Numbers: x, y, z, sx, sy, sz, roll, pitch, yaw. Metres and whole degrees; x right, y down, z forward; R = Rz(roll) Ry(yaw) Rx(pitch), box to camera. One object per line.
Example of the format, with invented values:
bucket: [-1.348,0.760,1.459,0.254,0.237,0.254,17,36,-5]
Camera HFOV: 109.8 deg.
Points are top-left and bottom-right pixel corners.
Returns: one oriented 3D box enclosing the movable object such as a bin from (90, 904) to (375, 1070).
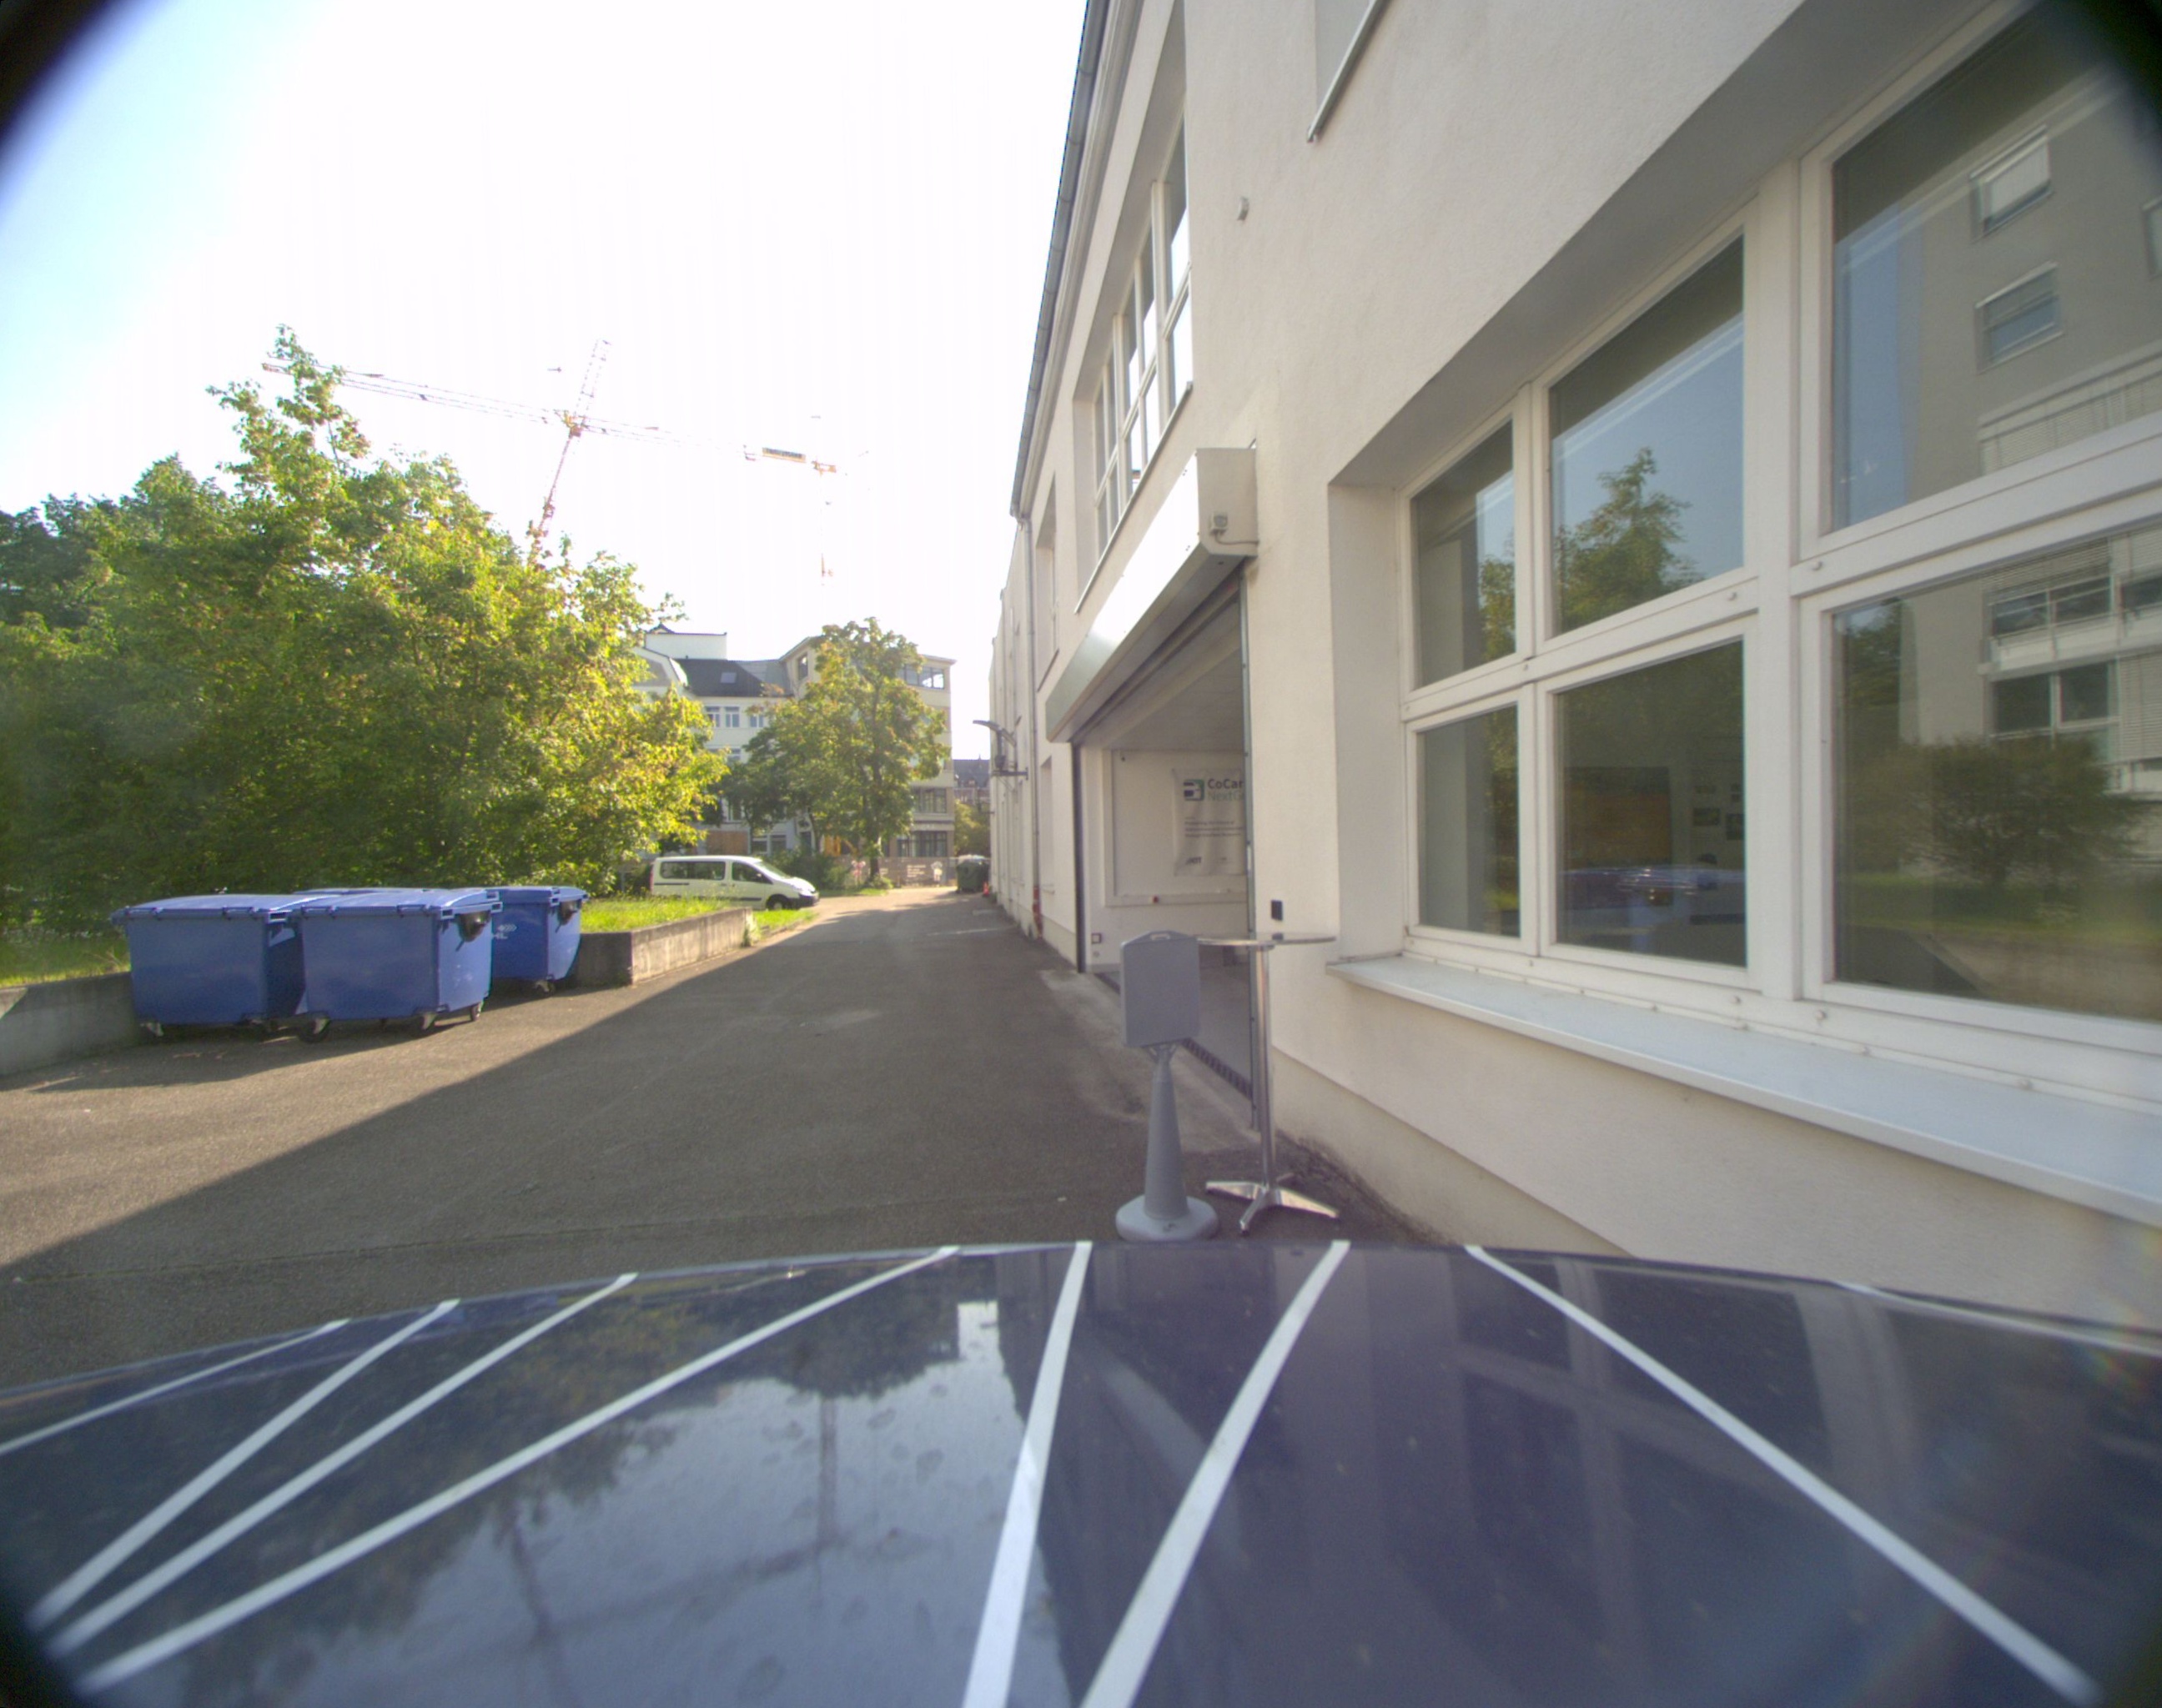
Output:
movable object such as a bin: [-8.002,1.197,7.288,1.258,1.320,1.274,-2,0,-8]

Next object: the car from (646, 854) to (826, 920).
car: [-10.760,0.999,24.043,4.793,1.920,1.908,-1,0,-7]

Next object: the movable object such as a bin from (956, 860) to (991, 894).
movable object such as a bin: [-4.884,1.015,34.517,1.525,1.457,1.274,-2,0,-8]

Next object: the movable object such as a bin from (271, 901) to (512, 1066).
movable object such as a bin: [-6.638,1.186,7.444,1.214,1.343,1.274,-2,0,-10]

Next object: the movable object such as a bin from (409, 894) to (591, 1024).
movable object such as a bin: [-6.802,1.179,9.006,1.200,1.320,1.274,-2,0,-8]

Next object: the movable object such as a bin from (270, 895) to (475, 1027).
movable object such as a bin: [-8.171,1.185,8.863,1.200,1.320,1.274,-2,0,-8]
